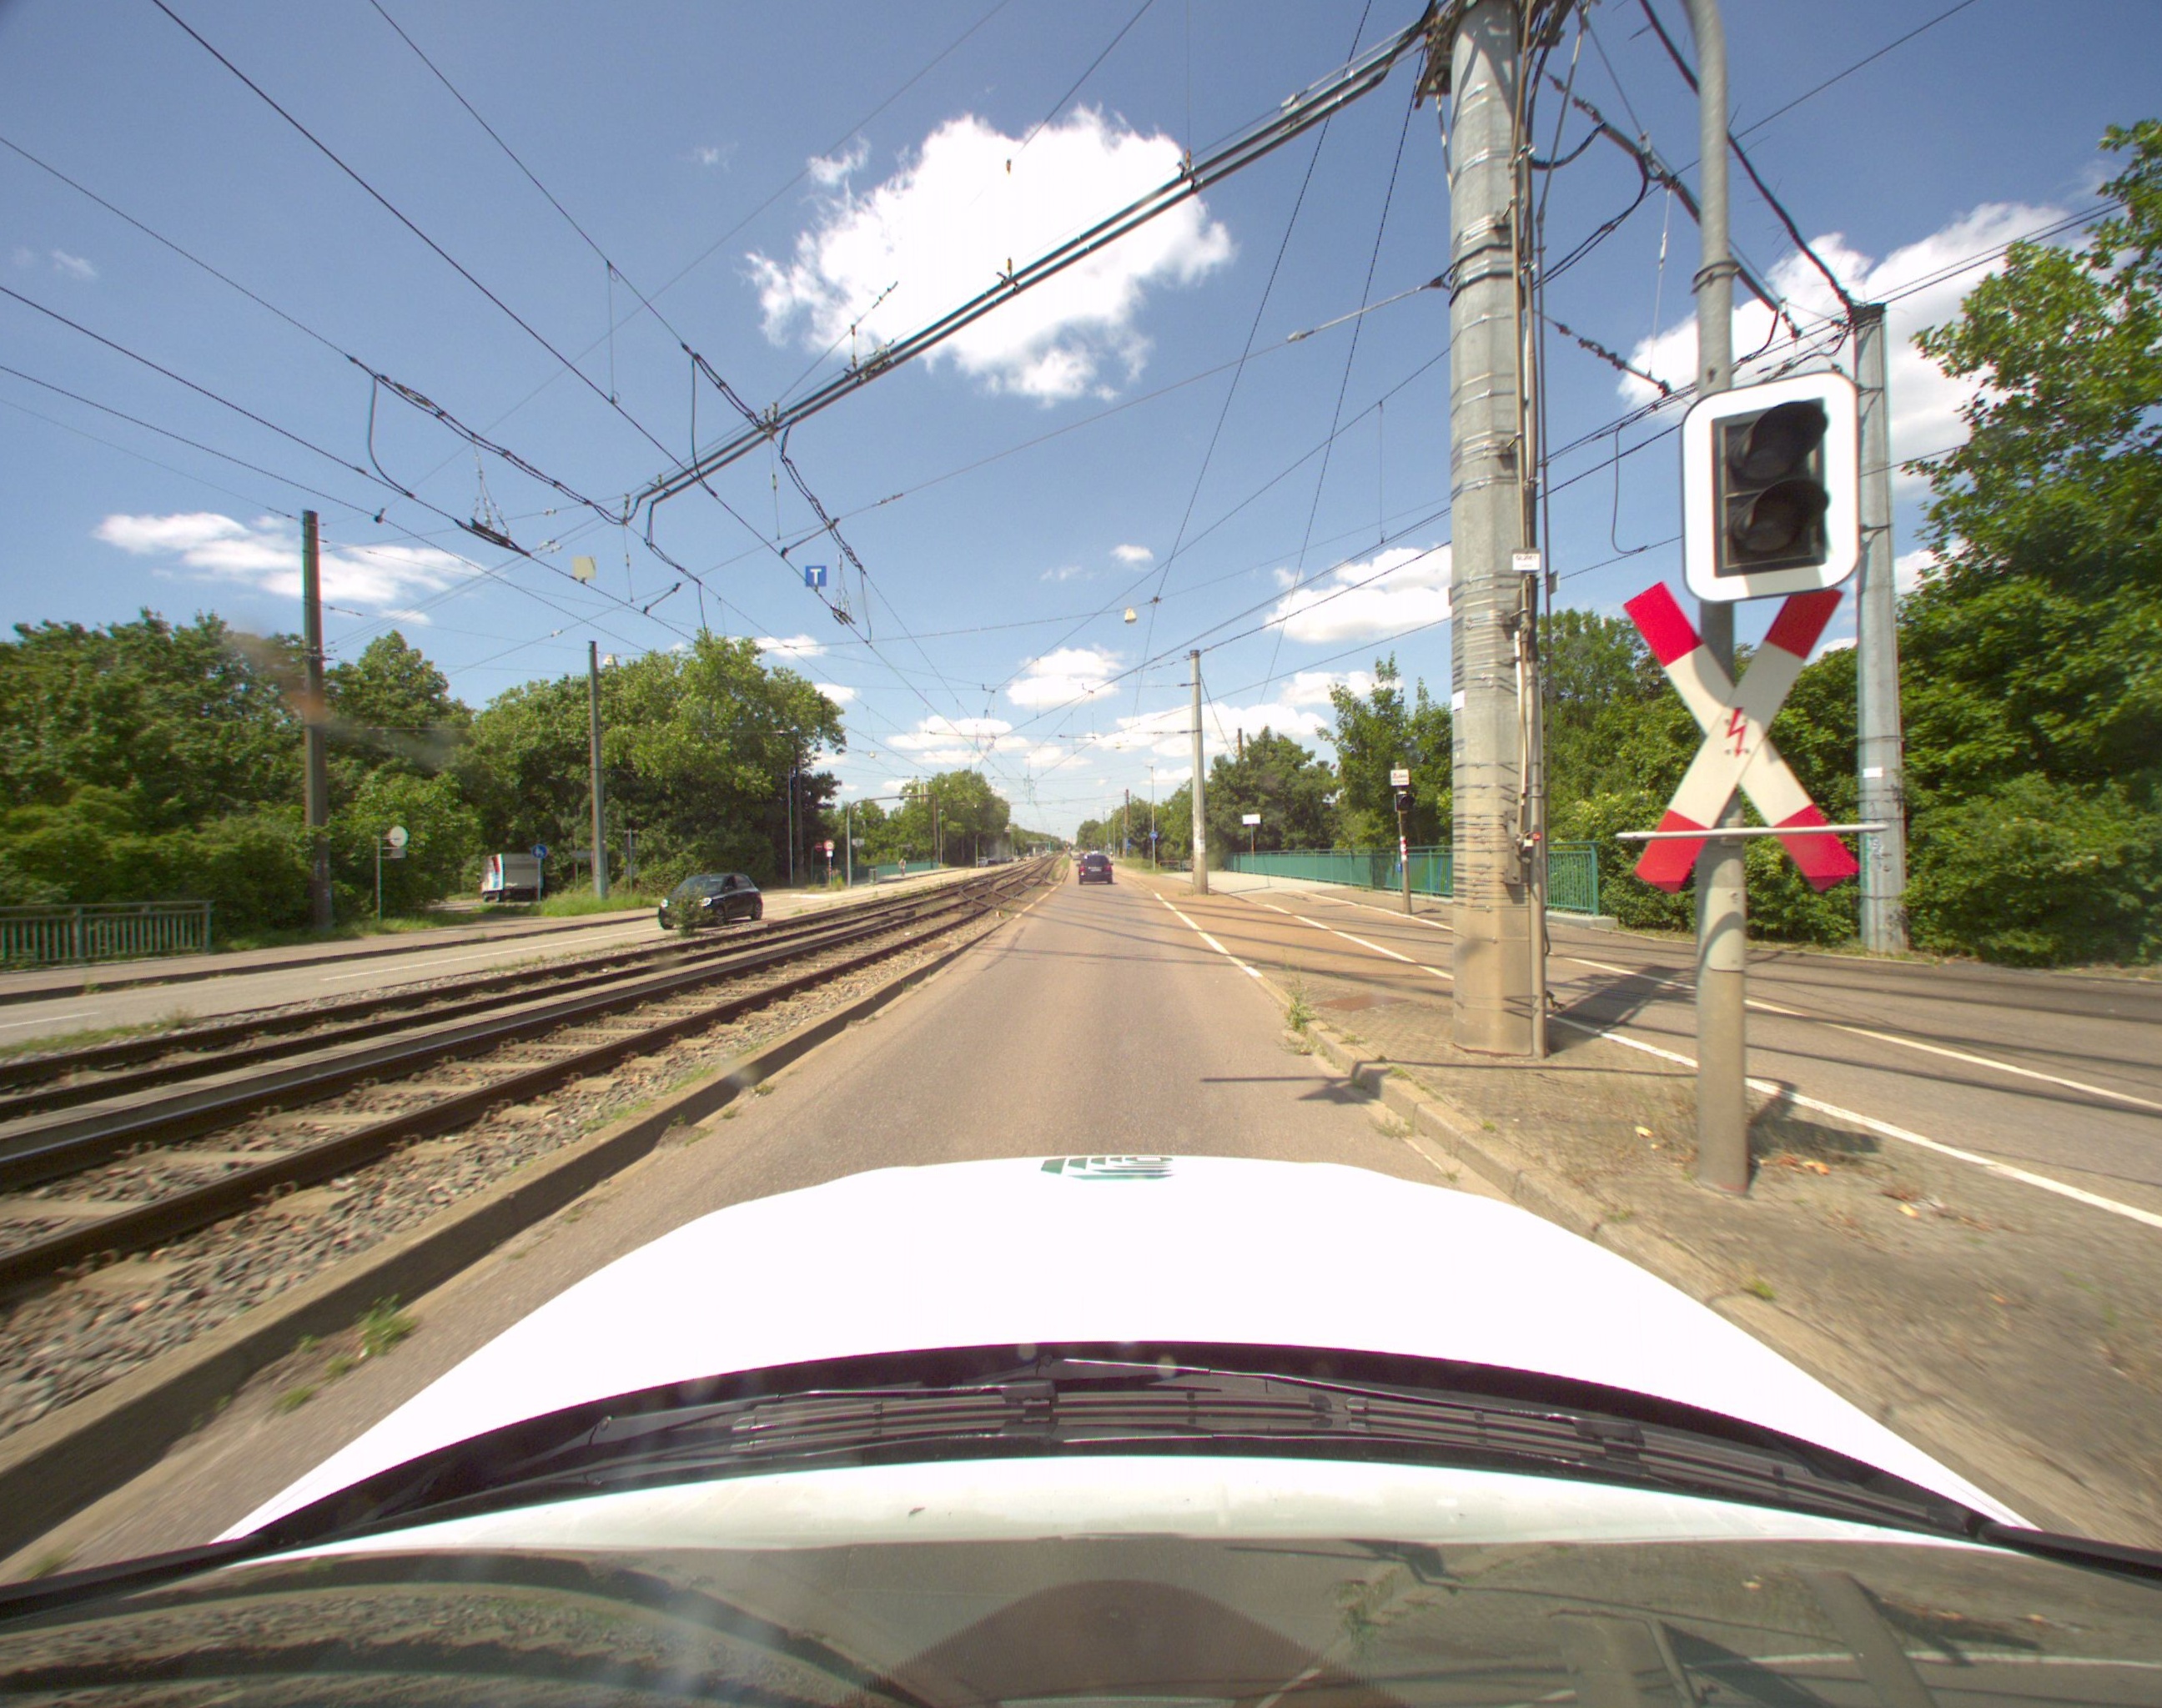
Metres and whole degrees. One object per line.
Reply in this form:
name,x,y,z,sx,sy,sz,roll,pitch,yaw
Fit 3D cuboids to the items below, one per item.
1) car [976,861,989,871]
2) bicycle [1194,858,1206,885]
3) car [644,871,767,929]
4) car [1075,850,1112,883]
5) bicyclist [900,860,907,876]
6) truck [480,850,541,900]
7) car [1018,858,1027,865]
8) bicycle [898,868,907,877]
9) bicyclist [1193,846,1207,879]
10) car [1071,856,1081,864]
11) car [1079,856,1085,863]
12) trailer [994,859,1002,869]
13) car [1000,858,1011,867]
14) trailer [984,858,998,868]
car,-16.445,2.043,136.657,1.715,1.631,4.612,-1,-1,-2
bicycle,5.427,0.778,37.264,0.430,1.152,1.857,0,1,4
car,-10.885,1.307,23.899,1.698,1.510,3.736,-2,-2,3
car,0.720,0.622,43.270,1.845,1.570,4.391,0,1,3
bicyclist,-16.670,1.278,76.342,0.455,1.474,0.633,-1,-1,1
truck,-43.785,1.559,62.444,5.225,3.656,2.864,0,-1,44
car,-14.483,1.917,202.652,1.870,1.720,5.327,-1,-1,-1
bicycle,-16.684,1.726,76.189,0.467,0.868,1.743,-1,-1,2
bicyclist,5.426,0.364,37.222,0.582,1.495,0.558,0,0,4
car,-1.176,1.297,181.625,1.877,1.640,4.004,2,0,3
car,0.362,1.659,236.354,1.781,2.013,3.999,0,1,-1
trailer,-17.629,2.040,172.596,1.606,2.014,3.910,0,0,-4
car,-17.221,1.975,185.923,1.987,2.014,3.999,-1,-2,0
trailer,-16.771,1.711,152.187,2.458,1.889,5.950,-1,-1,-5
